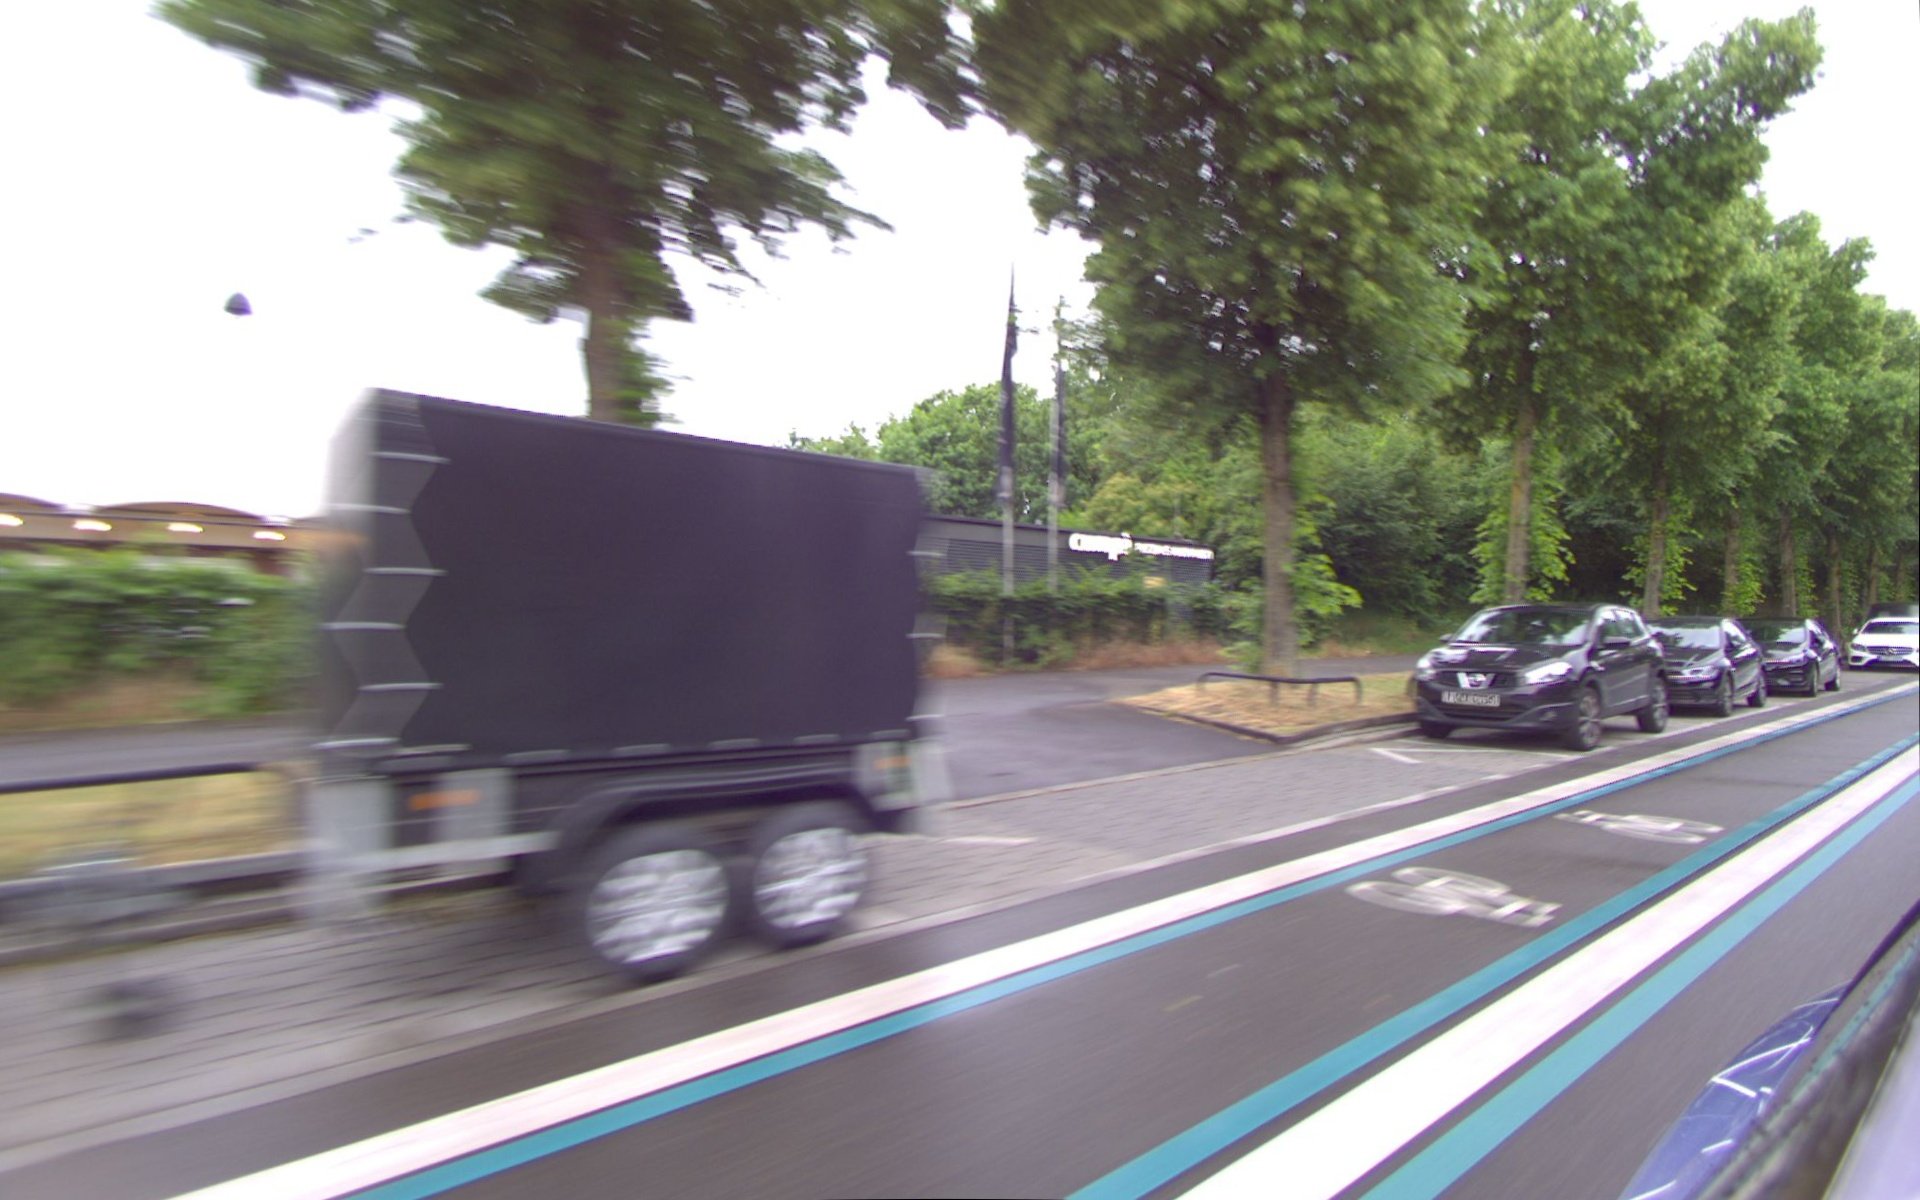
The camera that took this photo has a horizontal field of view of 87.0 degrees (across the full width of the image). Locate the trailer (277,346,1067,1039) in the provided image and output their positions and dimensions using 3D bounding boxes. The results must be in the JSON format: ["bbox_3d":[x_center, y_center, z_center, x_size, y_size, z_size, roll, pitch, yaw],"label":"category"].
[{"bbox_3d":[-1.198,0.303,4.983,3.499,2.298,1.349,0,-1,-38],"label":"trailer"}]

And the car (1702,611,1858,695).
[{"bbox_3d":[15.811,0.936,19.453,4.013,1.400,1.688,0,0,-42],"label":"car"}]

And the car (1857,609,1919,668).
[{"bbox_3d":[26.531,1.026,28.144,4.216,1.505,1.823,0,0,-40],"label":"car"}]

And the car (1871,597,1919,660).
[{"bbox_3d":[30.429,0.861,31.990,4.534,1.900,1.845,1,-1,-40],"label":"car"}]

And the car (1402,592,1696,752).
[{"bbox_3d":[7.146,0.735,12.104,4.263,1.592,1.692,0,-2,-40],"label":"car"}]

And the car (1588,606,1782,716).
[{"bbox_3d":[11.254,0.840,15.619,3.932,1.444,1.692,0,0,-43],"label":"car"}]

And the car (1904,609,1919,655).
[{"bbox_3d":[34.854,1.104,35.760,4.115,1.575,1.738,0,-1,-40],"label":"car"}]
